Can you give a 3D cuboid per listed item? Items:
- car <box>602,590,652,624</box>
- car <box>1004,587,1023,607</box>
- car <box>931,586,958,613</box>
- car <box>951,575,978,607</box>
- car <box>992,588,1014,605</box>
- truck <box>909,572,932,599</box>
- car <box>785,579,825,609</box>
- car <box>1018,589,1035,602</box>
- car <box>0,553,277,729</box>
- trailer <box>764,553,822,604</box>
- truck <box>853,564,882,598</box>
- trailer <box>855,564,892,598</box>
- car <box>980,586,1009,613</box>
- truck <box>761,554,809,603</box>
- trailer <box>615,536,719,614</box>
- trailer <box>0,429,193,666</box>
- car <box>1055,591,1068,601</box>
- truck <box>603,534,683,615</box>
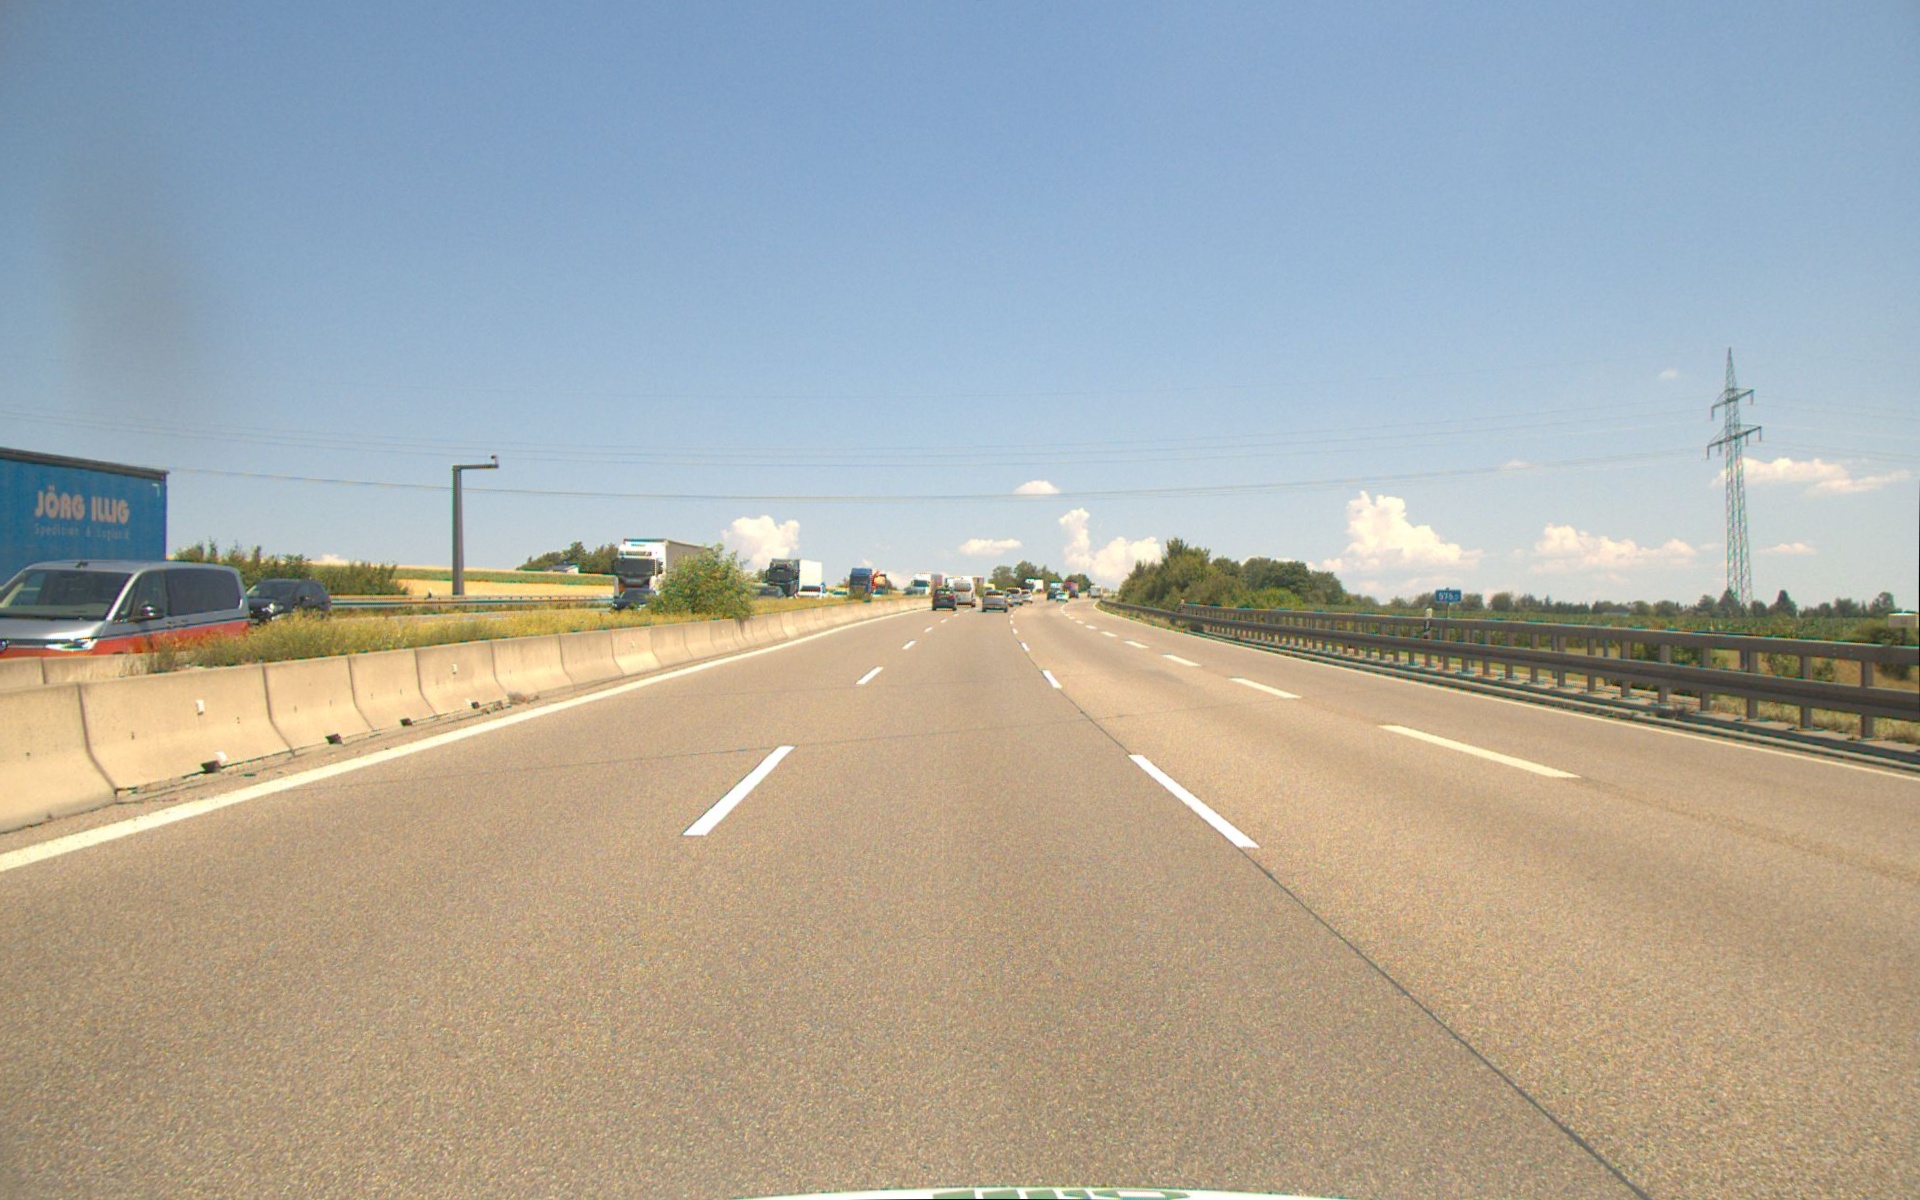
[{"bbox_3d":[-14.797,0.289,73.543,1.592,1.428,3.728,1,0,-3],"label":"car"},{"bbox_3d":[5.794,-0.293,179.018,1.952,1.937,3.999,1,-2,0],"label":"car"},{"bbox_3d":[-1.099,-0.061,122.336,1.809,1.893,4.207,1,1,1],"label":"car"},{"bbox_3d":[0.425,-0.794,148.832,2.134,2.671,4.672,1,-2,2],"label":"car"},{"bbox_3d":[4.131,-0.318,160.605,1.953,1.613,3.998,0,-1,-1],"label":"car"},{"bbox_3d":[-6.157,-2.221,260.218,2.792,4.097,6.519,1,0,6],"label":"truck"},{"bbox_3d":[-10.336,-0.369,110.676,1.952,1.937,5.677,1,0,1],"label":"car"},{"bbox_3d":[8.498,-0.543,211.499,1.952,1.579,4.003,2,1,5],"label":"car"},{"bbox_3d":[-11.033,0.464,21.795,1.874,2.004,5.445,1,0,-1],"label":"car"},{"bbox_3d":[-15.450,-1.979,154.354,3.174,4.464,14.033,1,0,3],"label":"trailer"},{"bbox_3d":[-11.022,-2.275,197.849,2.718,4.006,6.140,1,0,3],"label":"truck"},{"bbox_3d":[-10.611,-2.283,204.114,2.779,4.027,13.734,1,0,4],"label":"trailer"},{"bbox_3d":[2.474,-0.030,119.629,1.953,1.781,3.999,1,-2,0],"label":"car"},{"bbox_3d":[-15.631,-1.884,147.873,3.159,4.280,7.129,1,0,3],"label":"truck"},{"bbox_3d":[-17.700,-1.418,101.339,3.058,4.400,14.549,1,0,3],"label":"trailer"},{"bbox_3d":[-18.890,-0.990,29.946,3.096,4.267,14.380,2,0,0],"label":"trailer"},{"bbox_3d":[14.957,-0.604,243.078,1.862,1.467,4.002,1,0,5],"label":"car"},{"bbox_3d":[-18.020,-1.404,94.442,3.067,4.403,6.149,1,0,2],"label":"truck"}]
